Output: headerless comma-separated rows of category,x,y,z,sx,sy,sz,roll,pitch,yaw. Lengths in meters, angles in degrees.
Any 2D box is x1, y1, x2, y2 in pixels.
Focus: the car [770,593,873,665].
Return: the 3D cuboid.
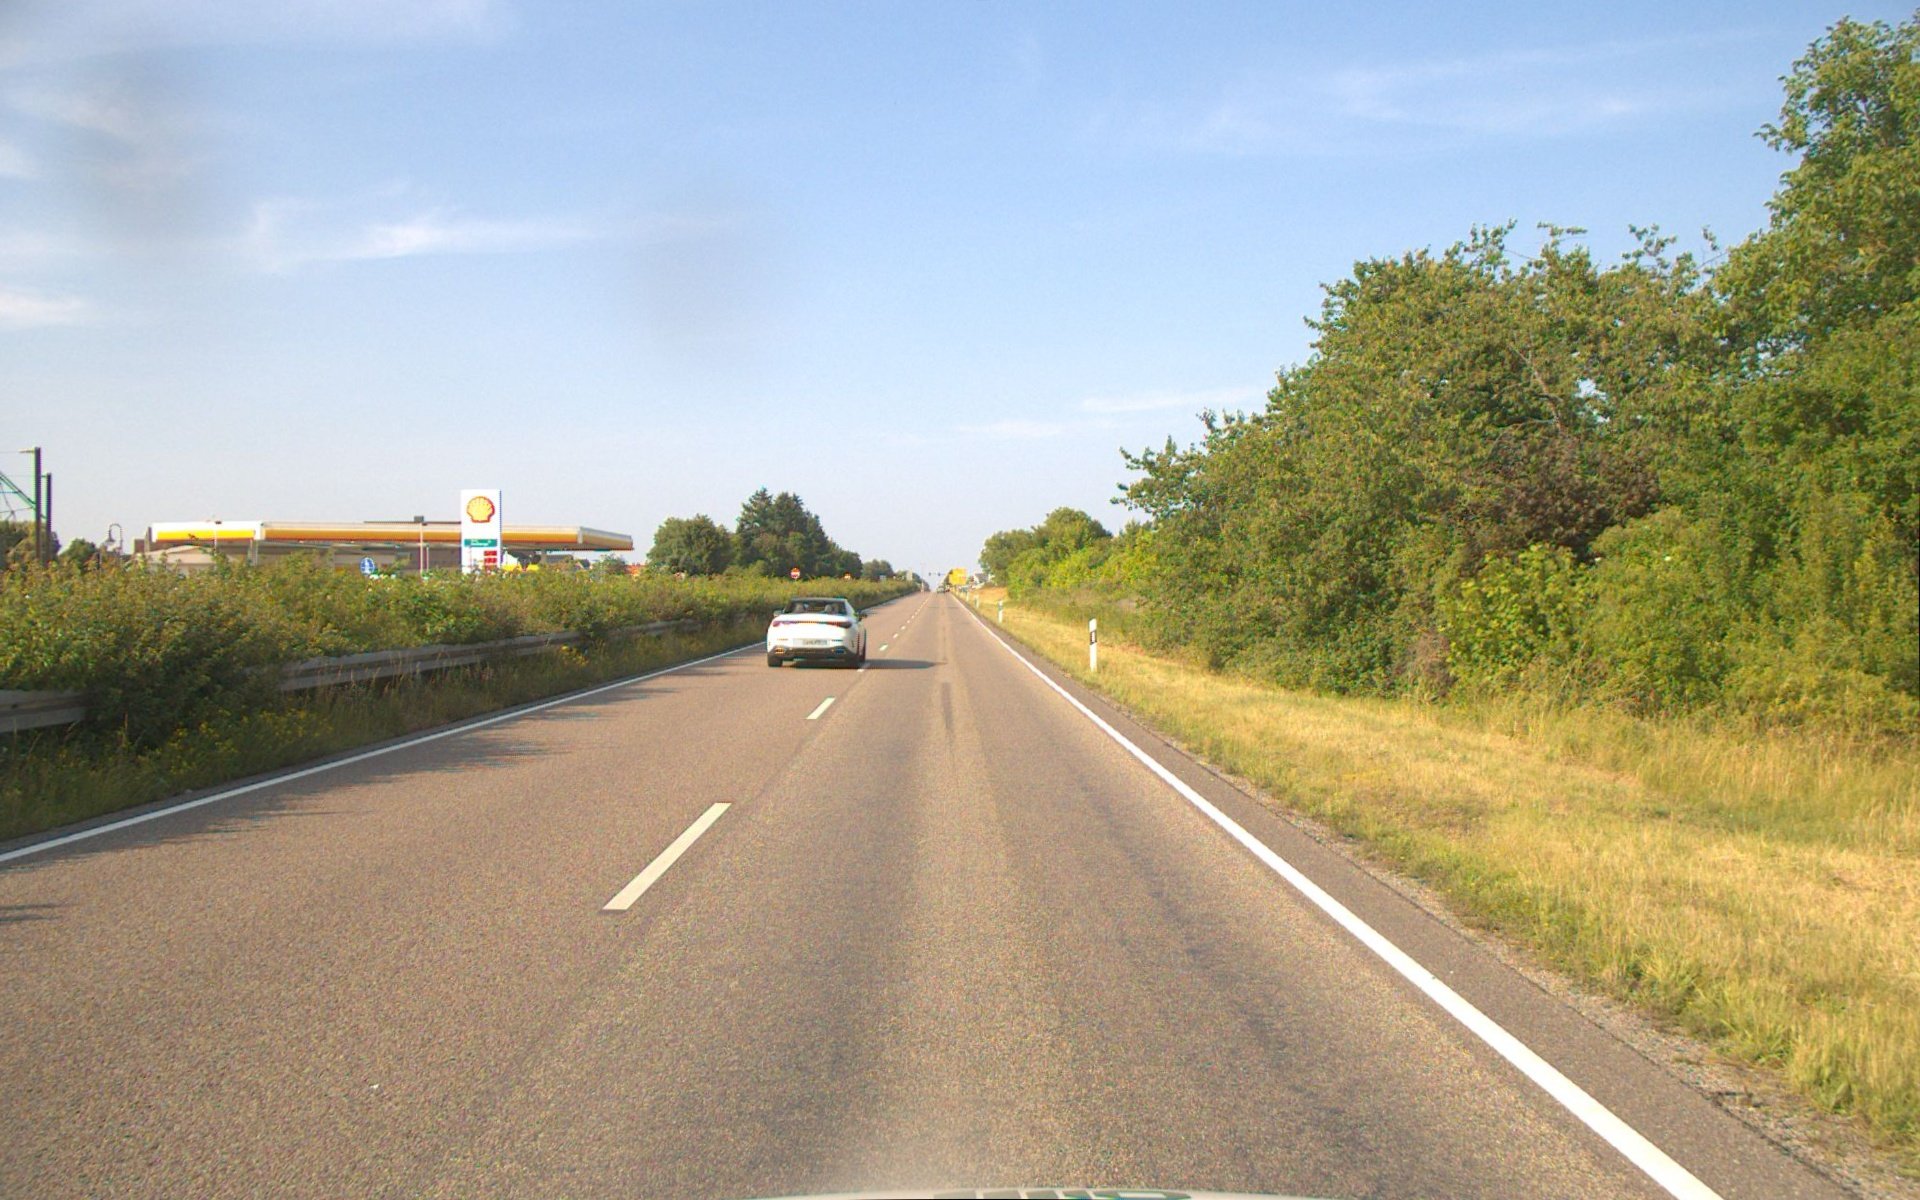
car,-2.825,0.565,34.537,1.735,1.361,4.949,1,0,0
